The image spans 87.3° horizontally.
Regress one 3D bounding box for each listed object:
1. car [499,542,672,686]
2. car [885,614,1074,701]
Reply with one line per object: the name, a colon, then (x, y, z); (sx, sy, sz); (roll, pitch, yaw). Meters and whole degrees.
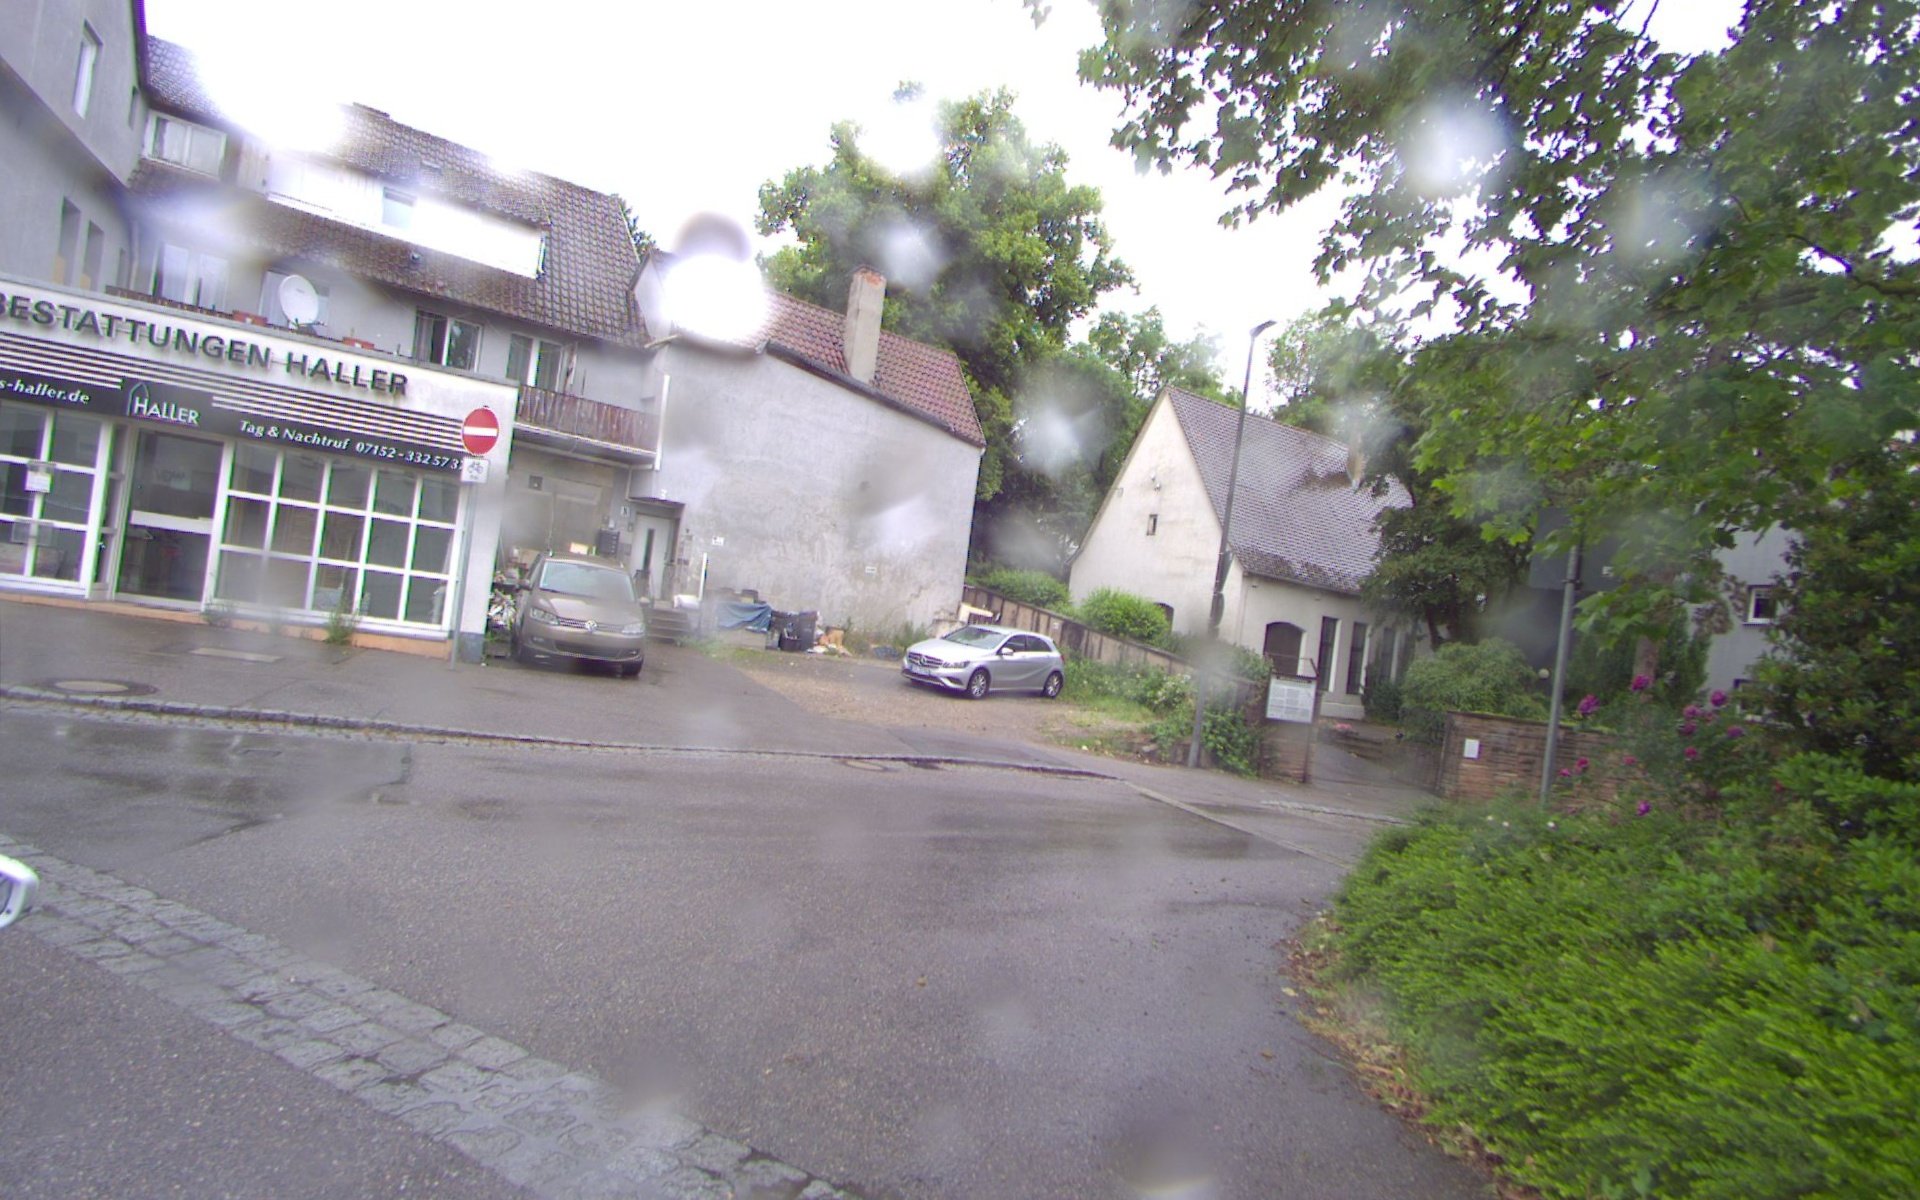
car: (-6.285, 0.121, 16.520); (1.909, 1.749, 4.633); (9, 0, -28)
car: (0.506, 1.267, 21.350); (1.717, 1.406, 4.022); (11, 2, 40)
